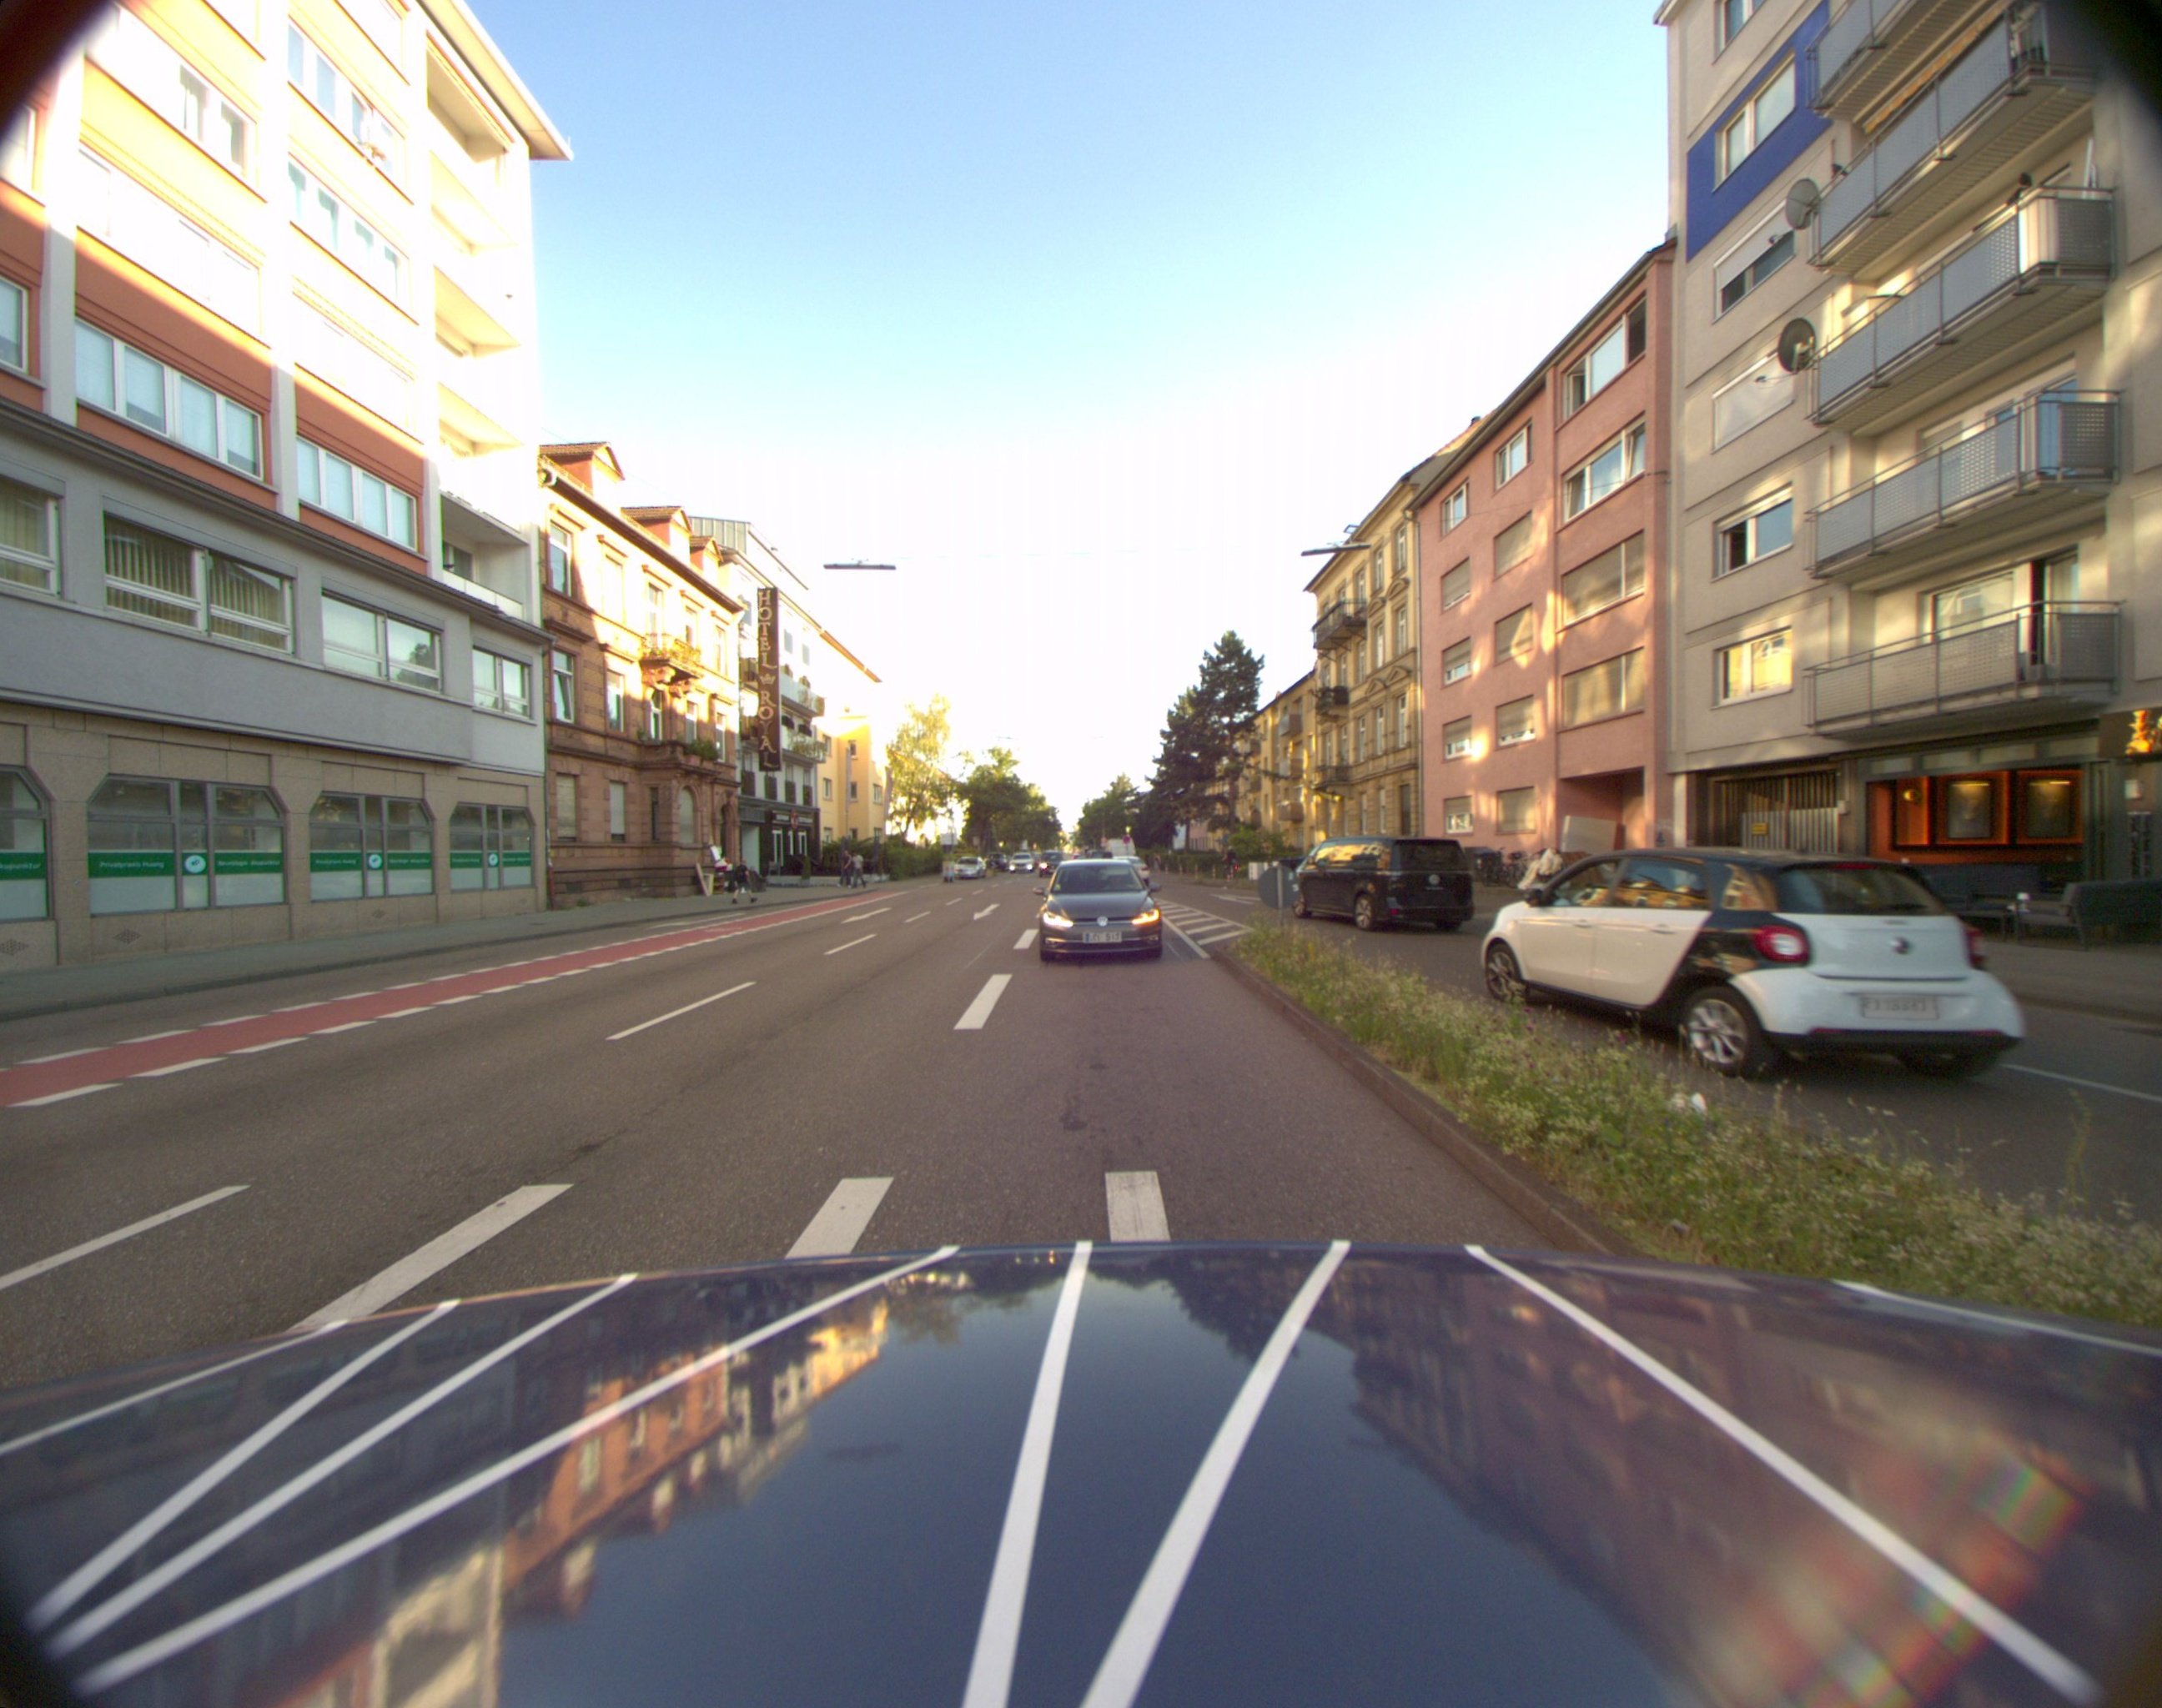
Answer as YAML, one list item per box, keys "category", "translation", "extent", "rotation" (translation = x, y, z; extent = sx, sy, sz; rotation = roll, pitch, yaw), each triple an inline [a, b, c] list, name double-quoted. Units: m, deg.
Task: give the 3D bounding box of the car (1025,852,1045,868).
- category: "car"
  translation: [-4.641, 0.612, 76.951]
  extent: [1.674, 1.454, 3.999]
  rotation: [-2, 1, 1]

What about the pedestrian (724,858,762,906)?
- category: "pedestrian"
  translation: [-11.778, 0.952, 26.512]
  extent: [0.737, 1.593, 1.012]
  rotation: [2, 1, 13]

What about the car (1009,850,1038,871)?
- category: "car"
  translation: [-4.747, 0.501, 63.328]
  extent: [1.921, 1.598, 4.269]
  rotation: [-2, 1, 1]

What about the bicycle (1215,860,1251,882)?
- category: "bicycle"
  translation: [7.265, 0.798, 36.436]
  extent: [0.546, 1.031, 2.283]
  rotation: [-1, 0, -21]

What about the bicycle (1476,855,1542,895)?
- category: "bicycle"
  translation: [13.064, 0.624, 23.195]
  extent: [1.780, 1.184, 0.473]
  rotation: [-1, 1, -2]

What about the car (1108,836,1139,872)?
- category: "car"
  translation: [3.313, -0.011, 60.231]
  extent: [2.136, 2.740, 4.465]
  rotation: [0, 1, -1]

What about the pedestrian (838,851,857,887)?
- category: "pedestrian"
  translation: [-11.316, 0.729, 36.818]
  extent: [0.668, 1.716, 1.010]
  rotation: [-1, 1, -5]

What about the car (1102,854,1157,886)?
- category: "car"
  translation: [2.248, 0.727, 36.470]
  extent: [1.896, 1.382, 4.266]
  rotation: [0, 0, -7]

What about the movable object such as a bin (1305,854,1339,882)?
- category: "movable object such as a bin"
  translation: [11.134, 0.644, 35.122]
  extent: [1.295, 1.225, 0.926]
  rotation: [-1, 1, -40]

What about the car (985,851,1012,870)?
- category: "car"
  translation: [-7.315, 0.525, 67.894]
  extent: [1.947, 1.615, 4.193]
  rotation: [-1, 0, 0]

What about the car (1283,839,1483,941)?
- category: "car"
  translation: [6.118, 0.630, 16.128]
  extent: [1.896, 1.843, 4.697]
  rotation: [0, 0, -8]

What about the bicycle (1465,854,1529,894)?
- category: "bicycle"
  translation: [13.084, 0.622, 23.929]
  extent: [1.780, 1.184, 0.473]
  rotation: [-1, 1, -2]

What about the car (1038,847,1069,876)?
- category: "car"
  translation: [-1.816, 0.464, 51.196]
  extent: [1.895, 1.843, 4.466]
  rotation: [0, 0, 0]

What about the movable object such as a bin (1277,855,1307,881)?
- category: "movable object such as a bin"
  translation: [10.211, 0.663, 36.719]
  extent: [1.196, 1.225, 0.847]
  rotation: [-2, 1, -40]

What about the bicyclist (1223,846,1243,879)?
- category: "bicyclist"
  translation: [7.274, 0.392, 36.380]
  extent: [0.546, 1.560, 0.858]
  rotation: [-1, 1, -21]

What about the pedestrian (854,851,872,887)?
- category: "pedestrian"
  translation: [-10.509, 0.728, 36.650]
  extent: [0.668, 1.716, 1.010]
  rotation: [-1, 1, -5]

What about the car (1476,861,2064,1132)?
- category: "car"
  translation: [4.920, 0.848, 6.147]
  extent: [1.596, 1.533, 3.403]
  rotation: [0, 0, -2]

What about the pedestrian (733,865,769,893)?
- category: "pedestrian"
  translation: [-13.827, 1.028, 31.890]
  extent: [1.100, 1.129, 0.924]
  rotation: [-1, 1, -2]

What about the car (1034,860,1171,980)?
- category: "car"
  translation: [0.305, 0.902, 12.241]
  extent: [1.770, 1.450, 4.269]
  rotation: [-2, 1, 1]

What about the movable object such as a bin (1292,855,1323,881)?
- category: "movable object such as a bin"
  translation: [10.740, 0.651, 36.016]
  extent: [1.196, 1.225, 0.847]
  rotation: [-2, 1, -40]

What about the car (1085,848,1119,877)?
- category: "car"
  translation: [1.293, 0.502, 48.560]
  extent: [1.895, 1.729, 4.292]
  rotation: [0, 0, -2]

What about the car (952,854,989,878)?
- category: "car"
  translation: [-7.514, 0.809, 52.100]
  extent: [1.905, 1.508, 4.074]
  rotation: [-1, 0, 1]

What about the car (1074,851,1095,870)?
- category: "car"
  translation: [0.287, 0.568, 70.076]
  extent: [1.746, 1.631, 3.746]
  rotation: [0, 0, -2]

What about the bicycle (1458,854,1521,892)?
- category: "bicycle"
  translation: [13.163, 0.613, 24.508]
  extent: [1.780, 1.184, 0.473]
  rotation: [-1, 1, -2]
